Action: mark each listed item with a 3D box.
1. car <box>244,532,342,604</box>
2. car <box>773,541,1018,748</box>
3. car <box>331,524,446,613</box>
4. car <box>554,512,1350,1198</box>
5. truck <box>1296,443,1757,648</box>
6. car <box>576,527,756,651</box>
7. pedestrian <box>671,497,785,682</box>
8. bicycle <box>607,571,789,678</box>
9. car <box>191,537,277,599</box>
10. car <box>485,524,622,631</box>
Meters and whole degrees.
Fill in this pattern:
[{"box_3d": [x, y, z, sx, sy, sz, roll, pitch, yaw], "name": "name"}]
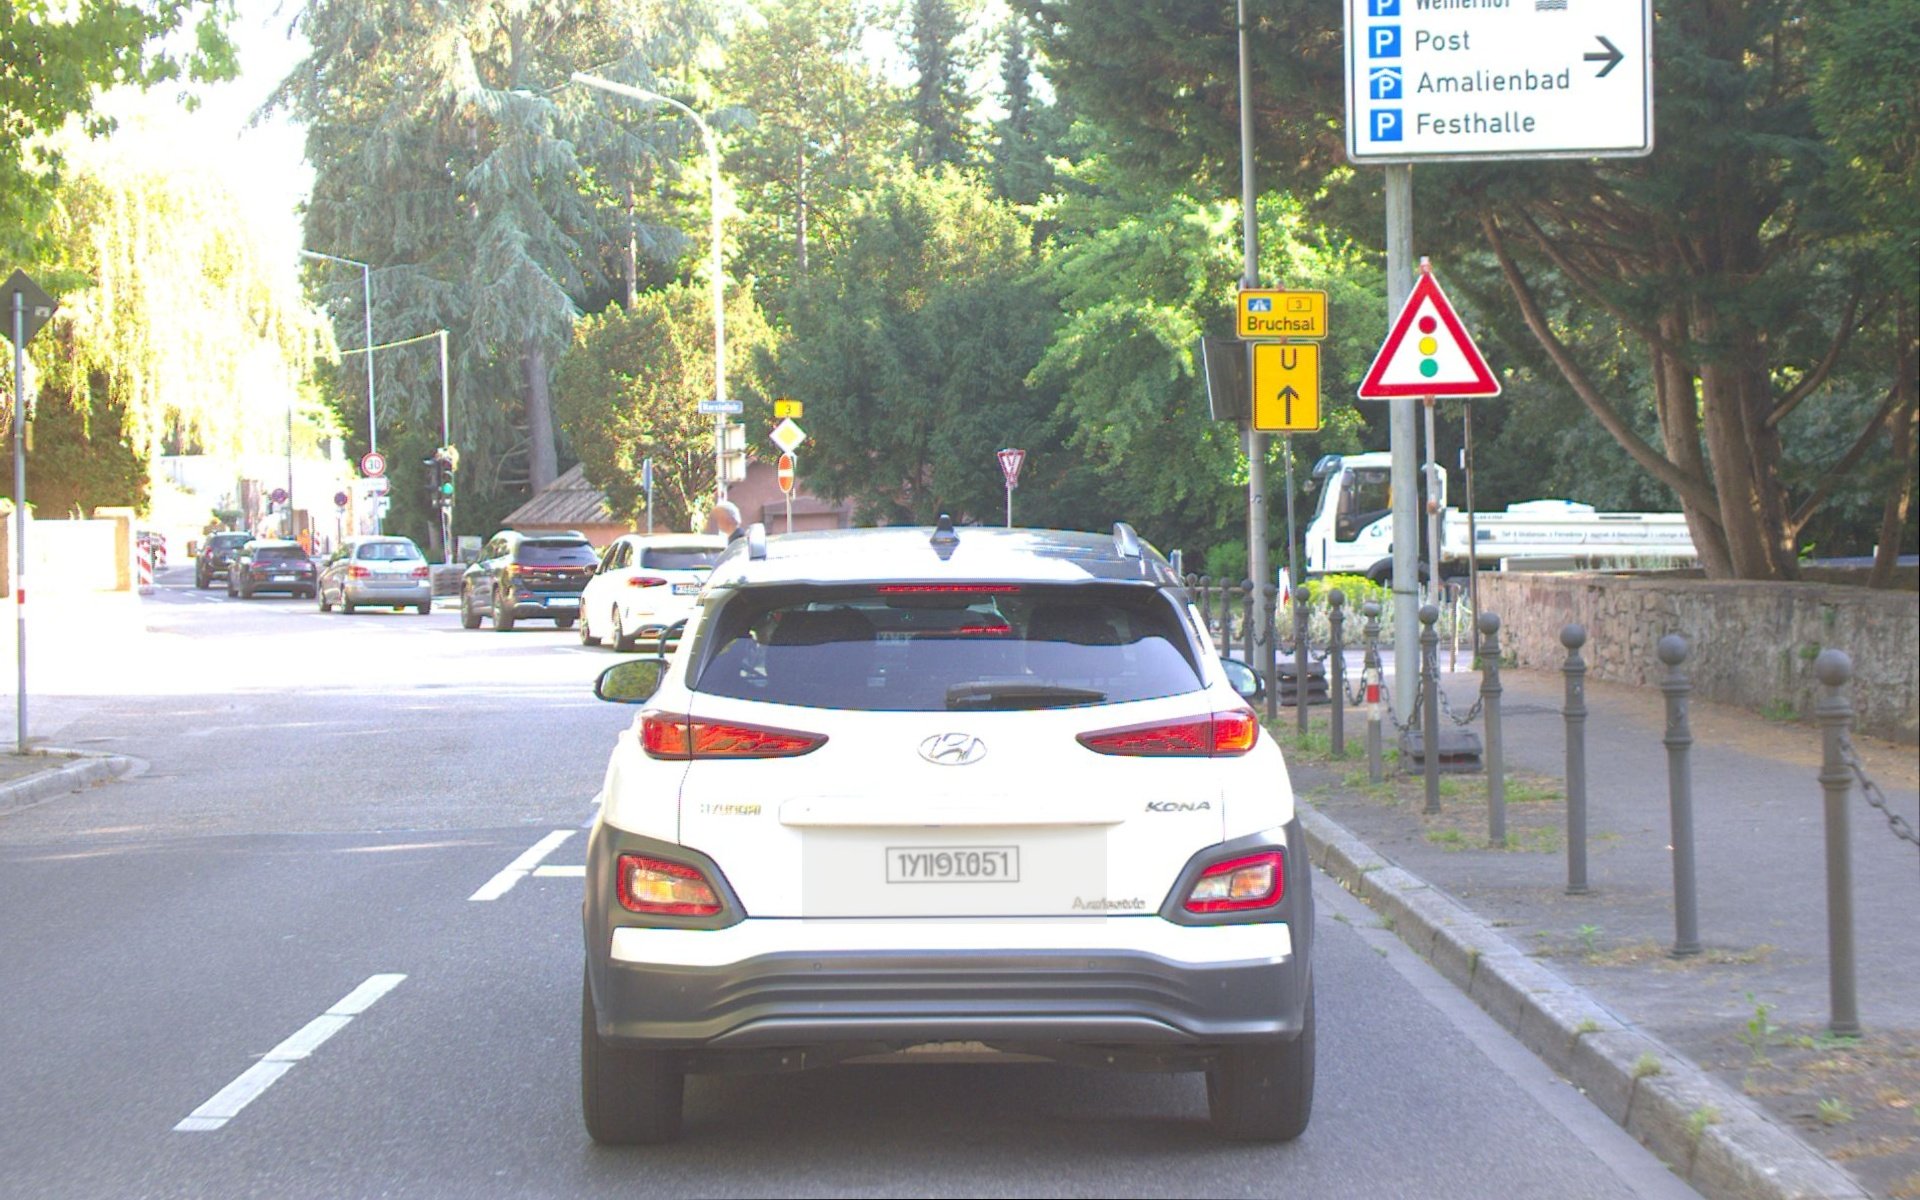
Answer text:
[{"box_3d": [-16.063, -0.782, 82.661, 1.831, 1.656, 4.001, 1, 1, -18], "name": "car"}, {"box_3d": [-0.486, 0.281, 26.532, 1.708, 1.429, 4.365, 1, 1, -1], "name": "car"}, {"box_3d": [-11.784, -0.671, 70.724, 1.831, 1.735, 4.001, 1, 1, -16], "name": "car"}, {"box_3d": [-0.053, 0.550, 9.893, 1.820, 1.568, 4.000, 0, 1, -1], "name": "car"}, {"box_3d": [8.387, -0.829, 51.517, 6.588, 2.885, 2.433, 1, 1, 5], "name": "truck"}, {"box_3d": [-3.934, -0.173, 45.461, 1.805, 1.532, 4.001, 1, 1, -13], "name": "car"}, {"box_3d": [-2.329, -0.111, 34.572, 0.940, 1.820, 0.554, 0, 3, -39], "name": "pedestrian"}, {"box_3d": [-2.661, 0.245, 35.008, 1.812, 1.039, 0.561, 0, 3, -37], "name": "bicycle"}, {"box_3d": [-20.143, -0.902, 95.326, 1.831, 1.656, 4.001, 1, 1, -19], "name": "car"}, {"box_3d": [-6.661, -0.389, 56.060, 1.831, 1.656, 4.001, 1, 1, -12], "name": "car"}]
